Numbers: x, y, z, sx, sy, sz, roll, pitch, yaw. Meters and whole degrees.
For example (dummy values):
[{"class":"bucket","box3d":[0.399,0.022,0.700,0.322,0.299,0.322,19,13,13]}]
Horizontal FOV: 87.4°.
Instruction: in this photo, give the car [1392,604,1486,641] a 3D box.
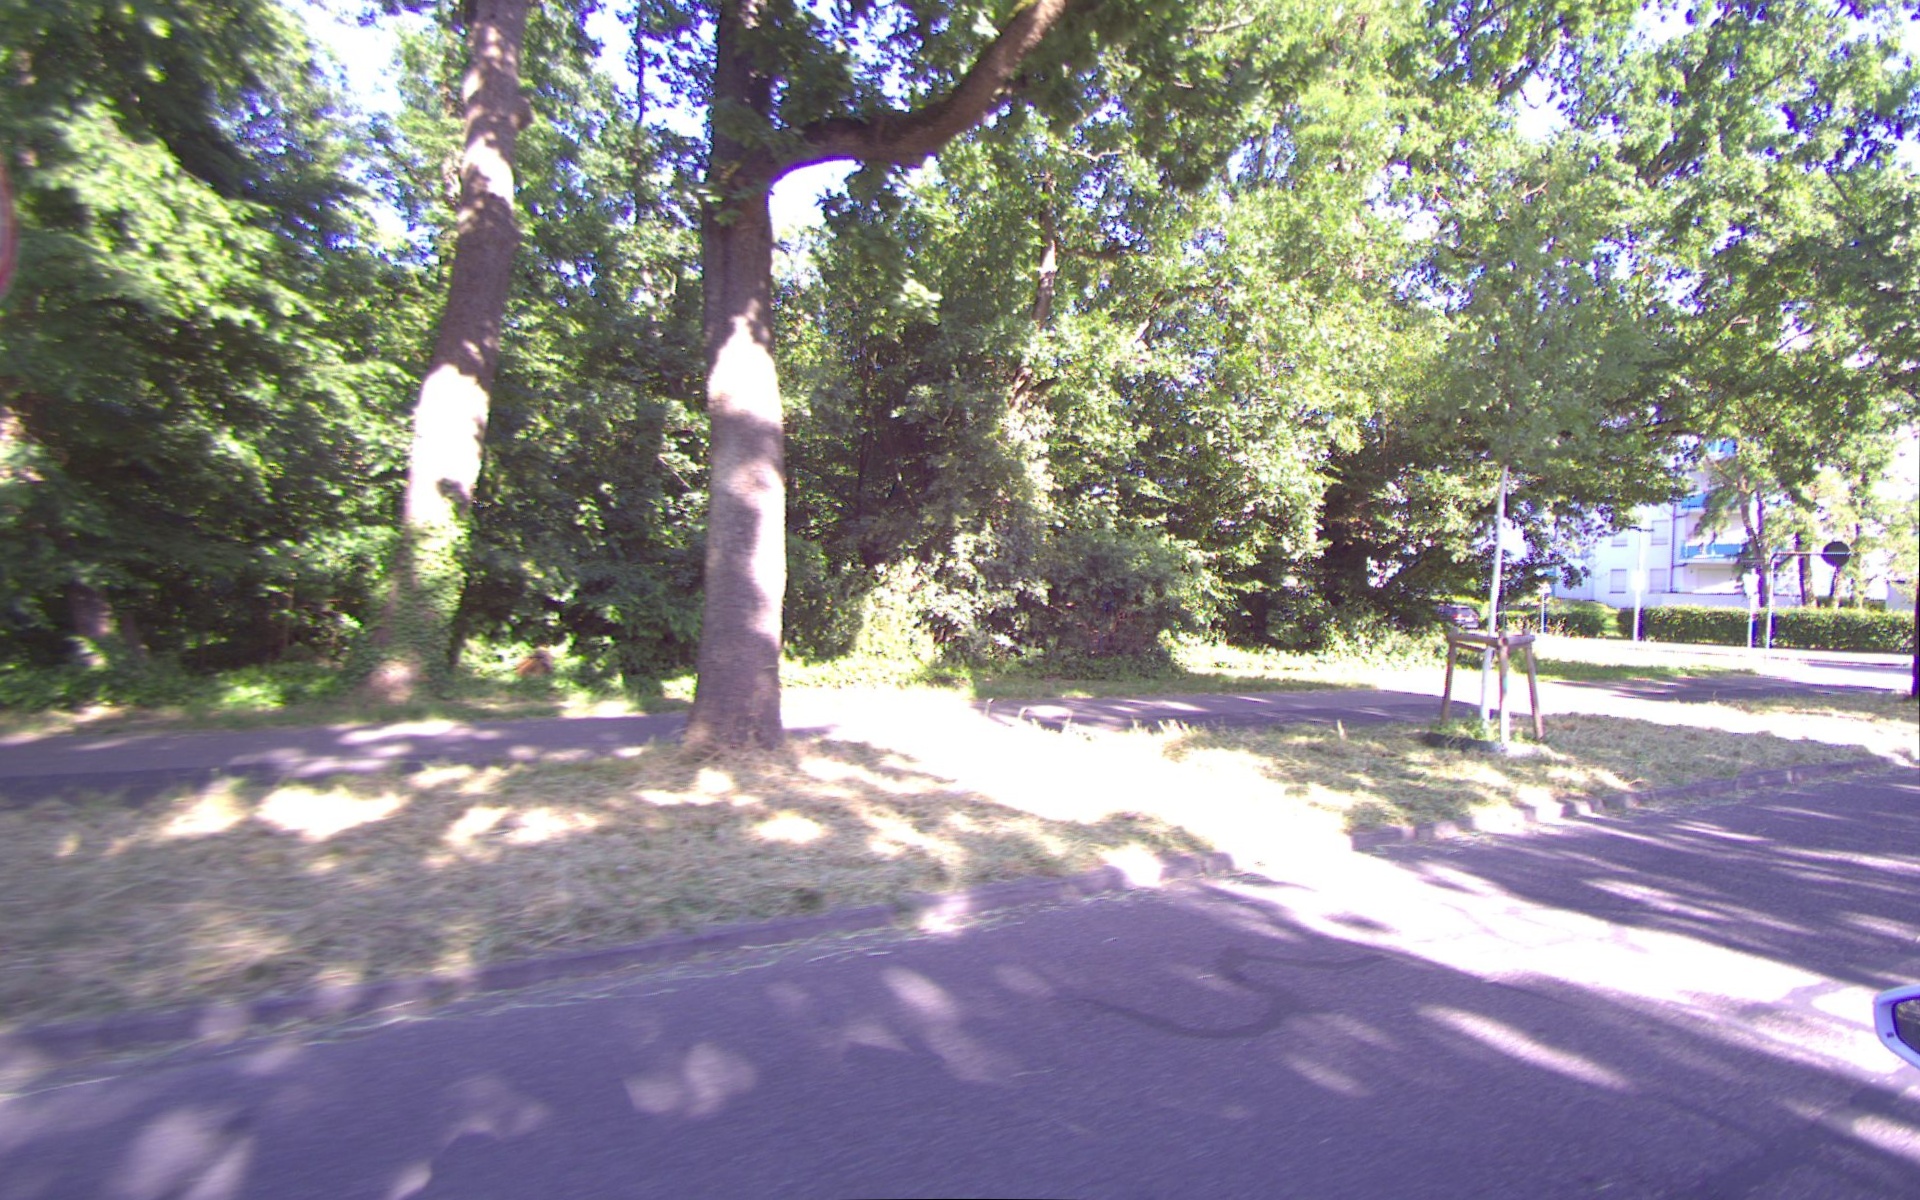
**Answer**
[{"class":"car","box3d":[24.363,1.114,51.238,1.985,1.634,3.978,2,1,-23]}]
